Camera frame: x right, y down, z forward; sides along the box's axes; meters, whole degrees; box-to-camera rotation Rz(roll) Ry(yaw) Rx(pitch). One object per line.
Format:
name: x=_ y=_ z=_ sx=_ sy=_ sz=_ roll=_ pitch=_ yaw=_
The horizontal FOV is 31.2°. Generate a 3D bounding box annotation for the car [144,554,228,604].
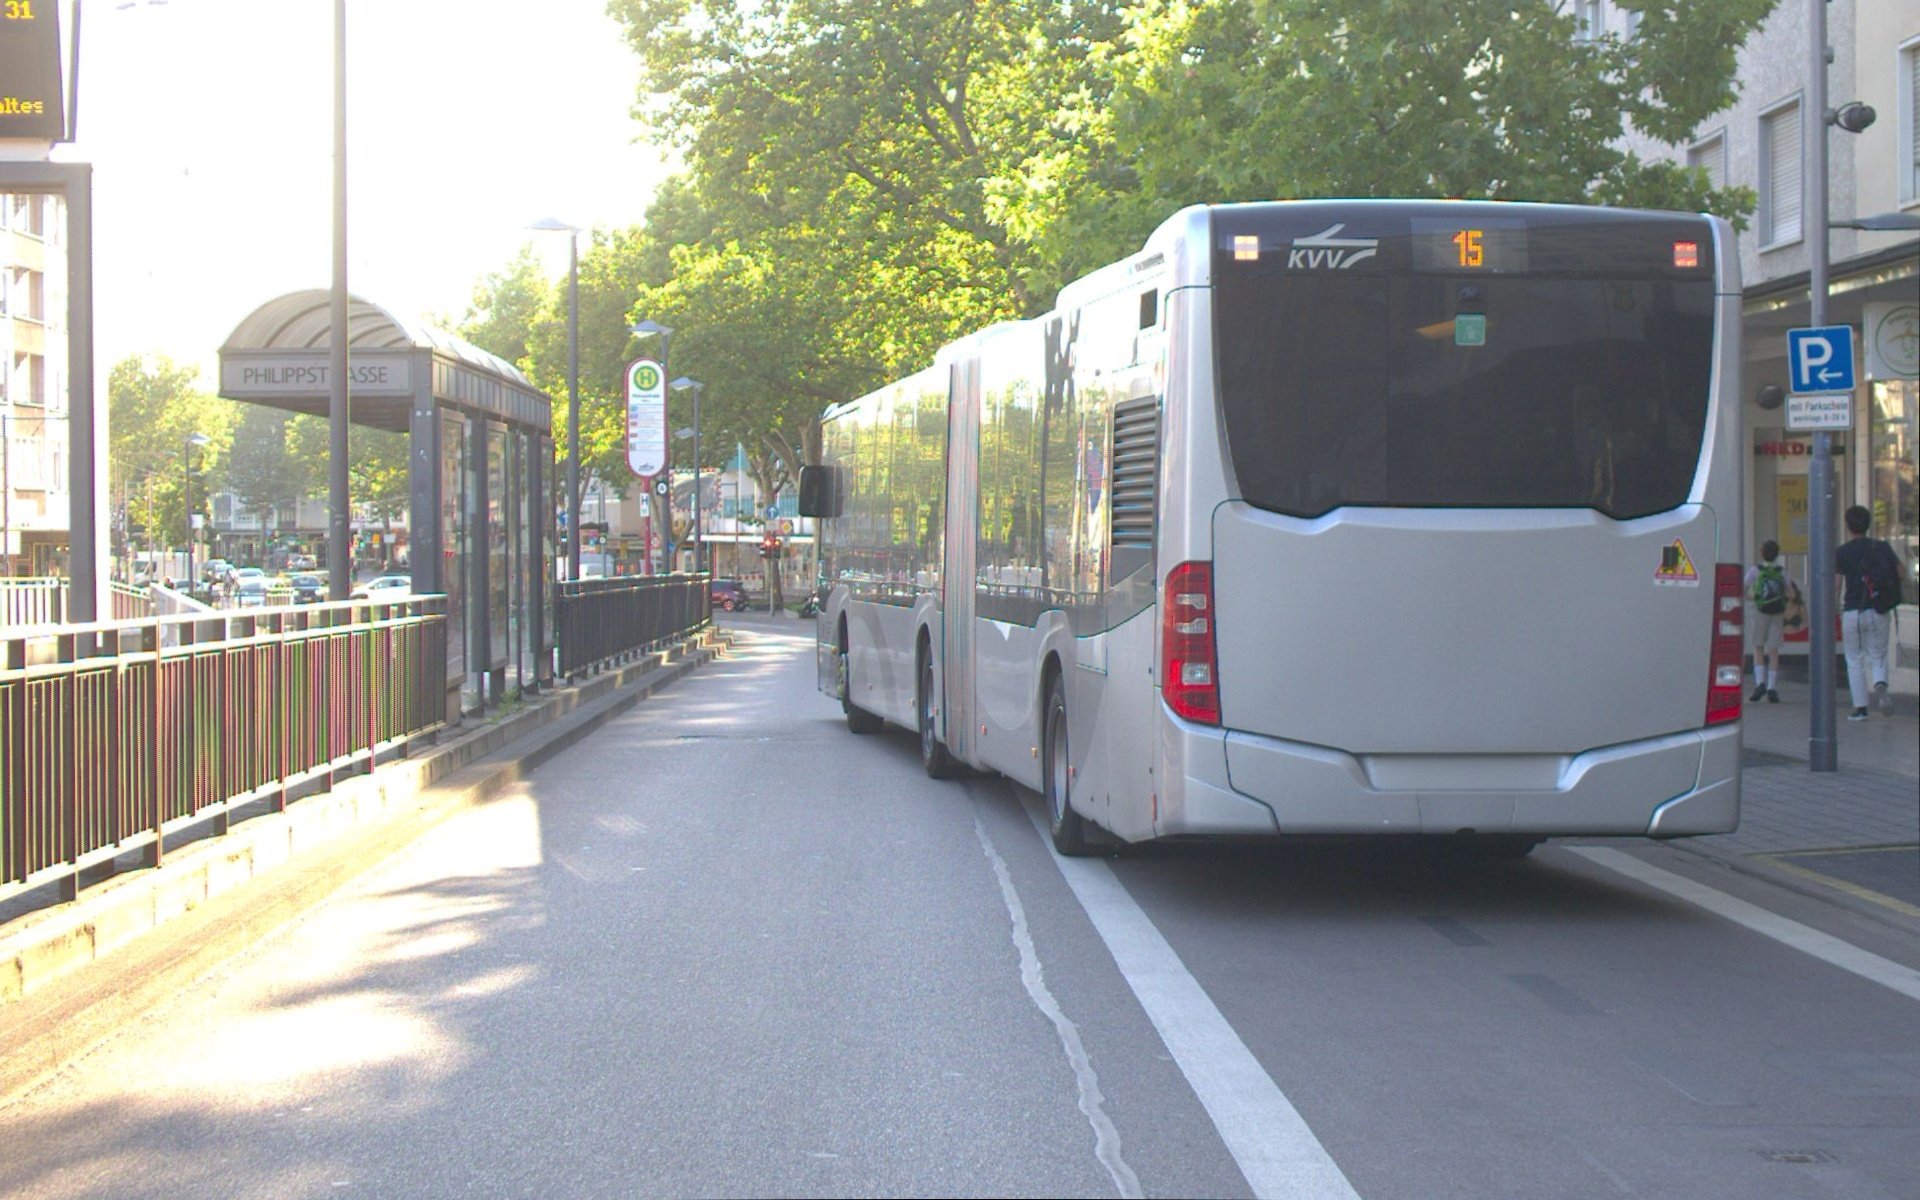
car: x=-26.046 y=-0.721 z=115.808 sx=1.993 sy=1.645 sz=4.000 roll=-1 pitch=1 yaw=-1

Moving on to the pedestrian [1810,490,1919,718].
pedestrian: x=7.267 y=0.024 z=27.489 sx=0.723 sy=1.789 sz=0.766 roll=-1 pitch=1 yaw=-1

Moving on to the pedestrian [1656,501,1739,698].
pedestrian: x=6.797 y=-0.009 z=31.713 sx=0.564 sy=1.789 sz=0.766 roll=-1 pitch=1 yaw=-1

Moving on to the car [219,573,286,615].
car: x=-28.923 y=-0.246 z=140.605 sx=1.993 sy=1.645 sz=4.000 roll=-1 pitch=1 yaw=-1

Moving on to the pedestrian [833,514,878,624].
pedestrian: x=-2.452 y=-0.728 z=80.772 sx=0.889 sy=2.537 sz=1.163 roll=-1 pitch=1 yaw=6

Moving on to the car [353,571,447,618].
car: x=-24.918 y=-0.260 z=153.086 sx=3.986 sy=2.007 sz=1.963 roll=0 pitch=1 yaw=-6

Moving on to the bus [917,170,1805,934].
bus: x=1.612 y=-0.279 z=18.814 sx=2.696 sy=3.107 sz=9.384 roll=0 pitch=1 yaw=-7

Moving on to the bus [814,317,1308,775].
bus: x=0.509 y=-0.448 z=27.989 sx=2.696 sy=3.107 sz=9.072 roll=0 pitch=1 yaw=-7

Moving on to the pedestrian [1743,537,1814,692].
pedestrian: x=7.484 y=0.127 z=31.430 sx=0.475 sy=1.390 sz=0.611 roll=-1 pitch=1 yaw=-1
